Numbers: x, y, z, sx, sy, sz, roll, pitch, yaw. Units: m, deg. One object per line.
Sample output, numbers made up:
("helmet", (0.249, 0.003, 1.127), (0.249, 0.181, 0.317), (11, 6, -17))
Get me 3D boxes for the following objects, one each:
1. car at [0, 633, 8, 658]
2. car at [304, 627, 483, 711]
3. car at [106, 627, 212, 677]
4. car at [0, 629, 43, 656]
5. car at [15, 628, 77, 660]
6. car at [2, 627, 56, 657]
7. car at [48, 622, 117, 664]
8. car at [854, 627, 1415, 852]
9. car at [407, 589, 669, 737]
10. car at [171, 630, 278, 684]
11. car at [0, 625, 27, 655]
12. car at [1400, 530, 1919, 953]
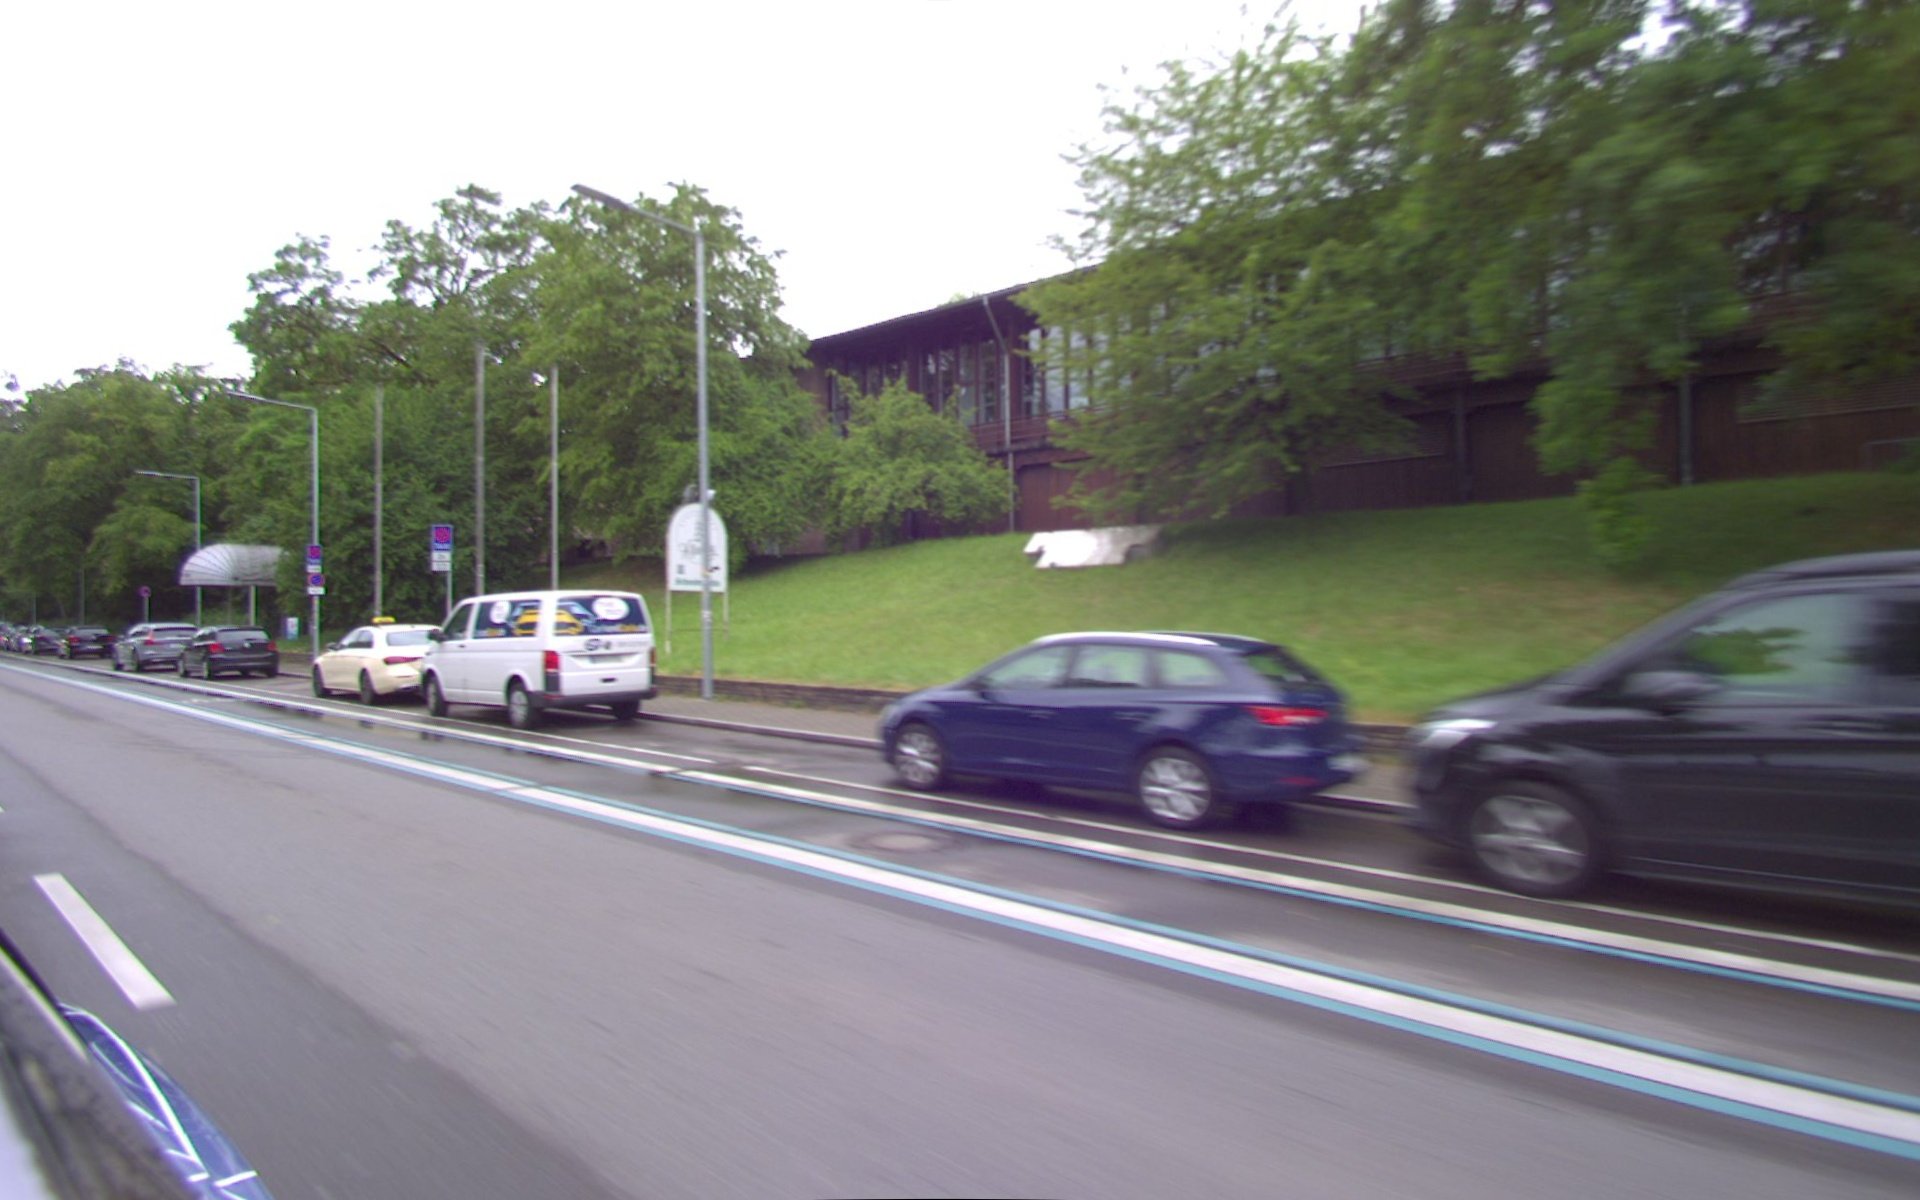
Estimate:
("car", (-64.637, 3.010, 67.137), (3.742, 1.625, 1.798), (-3, -3, 42))
("car", (-11.210, 1.270, 19.883), (4.594, 1.459, 1.708), (-1, -2, 42))
("car", (-25.481, 1.609, 32.135), (4.324, 1.479, 1.772), (-1, -2, 40))
("car", (-55.724, 2.515, 59.862), (4.125, 1.492, 1.798), (-3, -3, 42))
("car", (-45.679, 2.202, 50.536), (4.541, 1.554, 1.798), (-3, -3, 42))
("car", (-51.197, 2.318, 55.630), (4.232, 1.582, 1.798), (-3, -3, 42))
("car", (-38.740, 1.906, 44.642), (3.998, 1.779, 1.798), (-3, -3, 42))
("car", (1.275, 0.976, 8.780), (4.608, 1.470, 1.666), (-1, -2, 40))
("car", (-6.732, 0.900, 15.886), (4.732, 1.992, 1.853), (-1, -2, 40))
("car", (-20.331, 1.527, 27.943), (3.584, 1.382, 1.658), (-1, -2, 42))
("car", (-60.234, 2.524, 63.759), (3.742, 1.874, 1.798), (-3, -3, 42))
("car", (5.237, 0.665, 5.137), (5.202, 1.935, 1.857), (-1, -3, 41))
